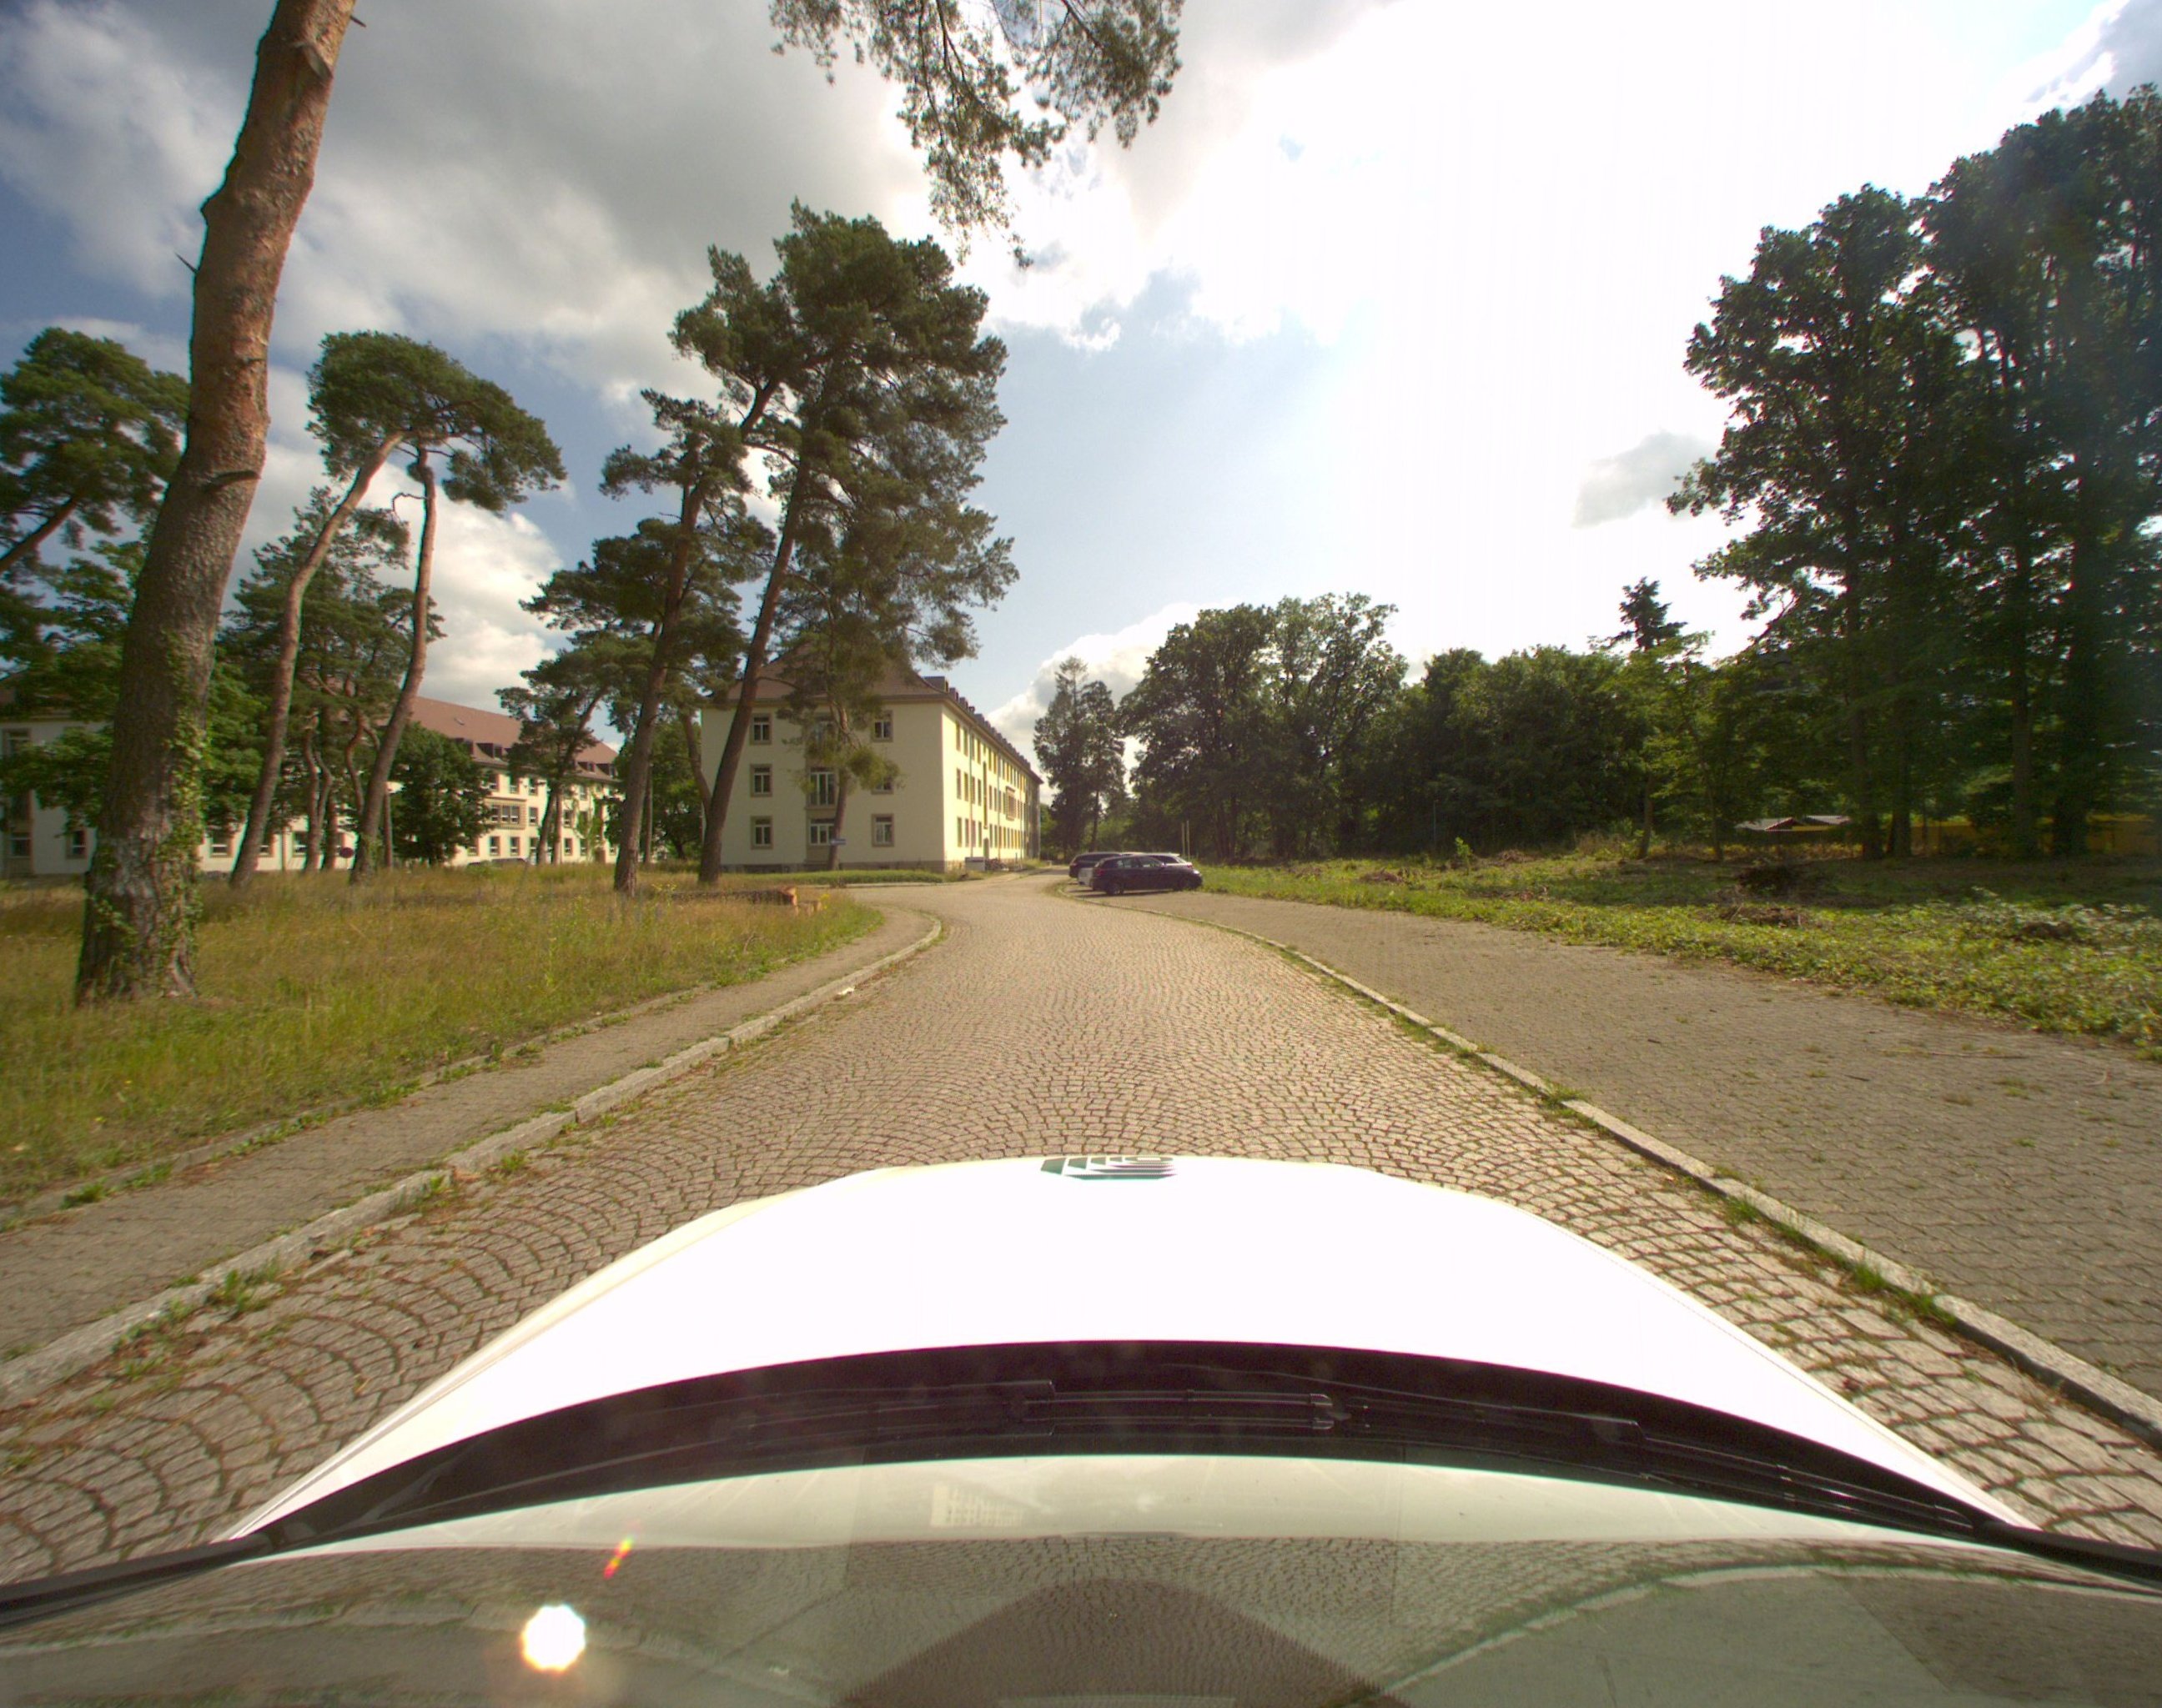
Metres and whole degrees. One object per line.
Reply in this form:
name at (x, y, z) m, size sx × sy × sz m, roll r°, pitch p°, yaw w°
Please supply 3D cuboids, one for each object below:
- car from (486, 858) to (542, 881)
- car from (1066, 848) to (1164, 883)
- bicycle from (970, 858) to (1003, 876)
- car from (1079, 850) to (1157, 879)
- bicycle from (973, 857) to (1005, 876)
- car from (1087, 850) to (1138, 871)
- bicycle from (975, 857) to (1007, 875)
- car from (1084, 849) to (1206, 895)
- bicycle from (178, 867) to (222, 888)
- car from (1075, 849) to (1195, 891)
car at (-53.156, 1.469, 76.406) m, size 4.042 × 1.991 × 1.714 m, roll -1°, pitch 0°, yaw 2°
car at (1.694, 0.569, 41.542) m, size 4.836 × 1.552 × 1.880 m, roll -2°, pitch -1°, yaw 0°
bicycle at (-6.725, 0.914, 57.892) m, size 2.209 × 1.260 × 0.624 m, roll -1°, pitch 0°, yaw 8°
car at (2.116, 0.607, 46.970) m, size 4.383 × 1.484 × 1.766 m, roll -2°, pitch -1°, yaw 0°
bicycle at (-6.643, 0.907, 58.830) m, size 2.212 × 1.260 × 0.624 m, roll -1°, pitch 0°, yaw 4°
car at (2.714, 0.574, 69.667) m, size 4.169 × 1.543 × 1.822 m, roll -3°, pitch -1°, yaw 3°
bicycle at (-6.621, 0.908, 59.839) m, size 2.212 × 1.260 × 0.624 m, roll -1°, pitch 0°, yaw 4°
car at (2.395, 0.661, 30.960) m, size 4.319 × 1.500 × 1.826 m, roll -3°, pitch 1°, yaw -6°
bicycle at (-48.276, 1.299, 44.636) m, size 0.486 × 1.100 × 1.592 m, roll -1°, pitch 0°, yaw 14°
car at (2.222, 0.656, 34.169) m, size 4.846 × 1.472 × 1.875 m, roll -2°, pitch 1°, yaw 0°
